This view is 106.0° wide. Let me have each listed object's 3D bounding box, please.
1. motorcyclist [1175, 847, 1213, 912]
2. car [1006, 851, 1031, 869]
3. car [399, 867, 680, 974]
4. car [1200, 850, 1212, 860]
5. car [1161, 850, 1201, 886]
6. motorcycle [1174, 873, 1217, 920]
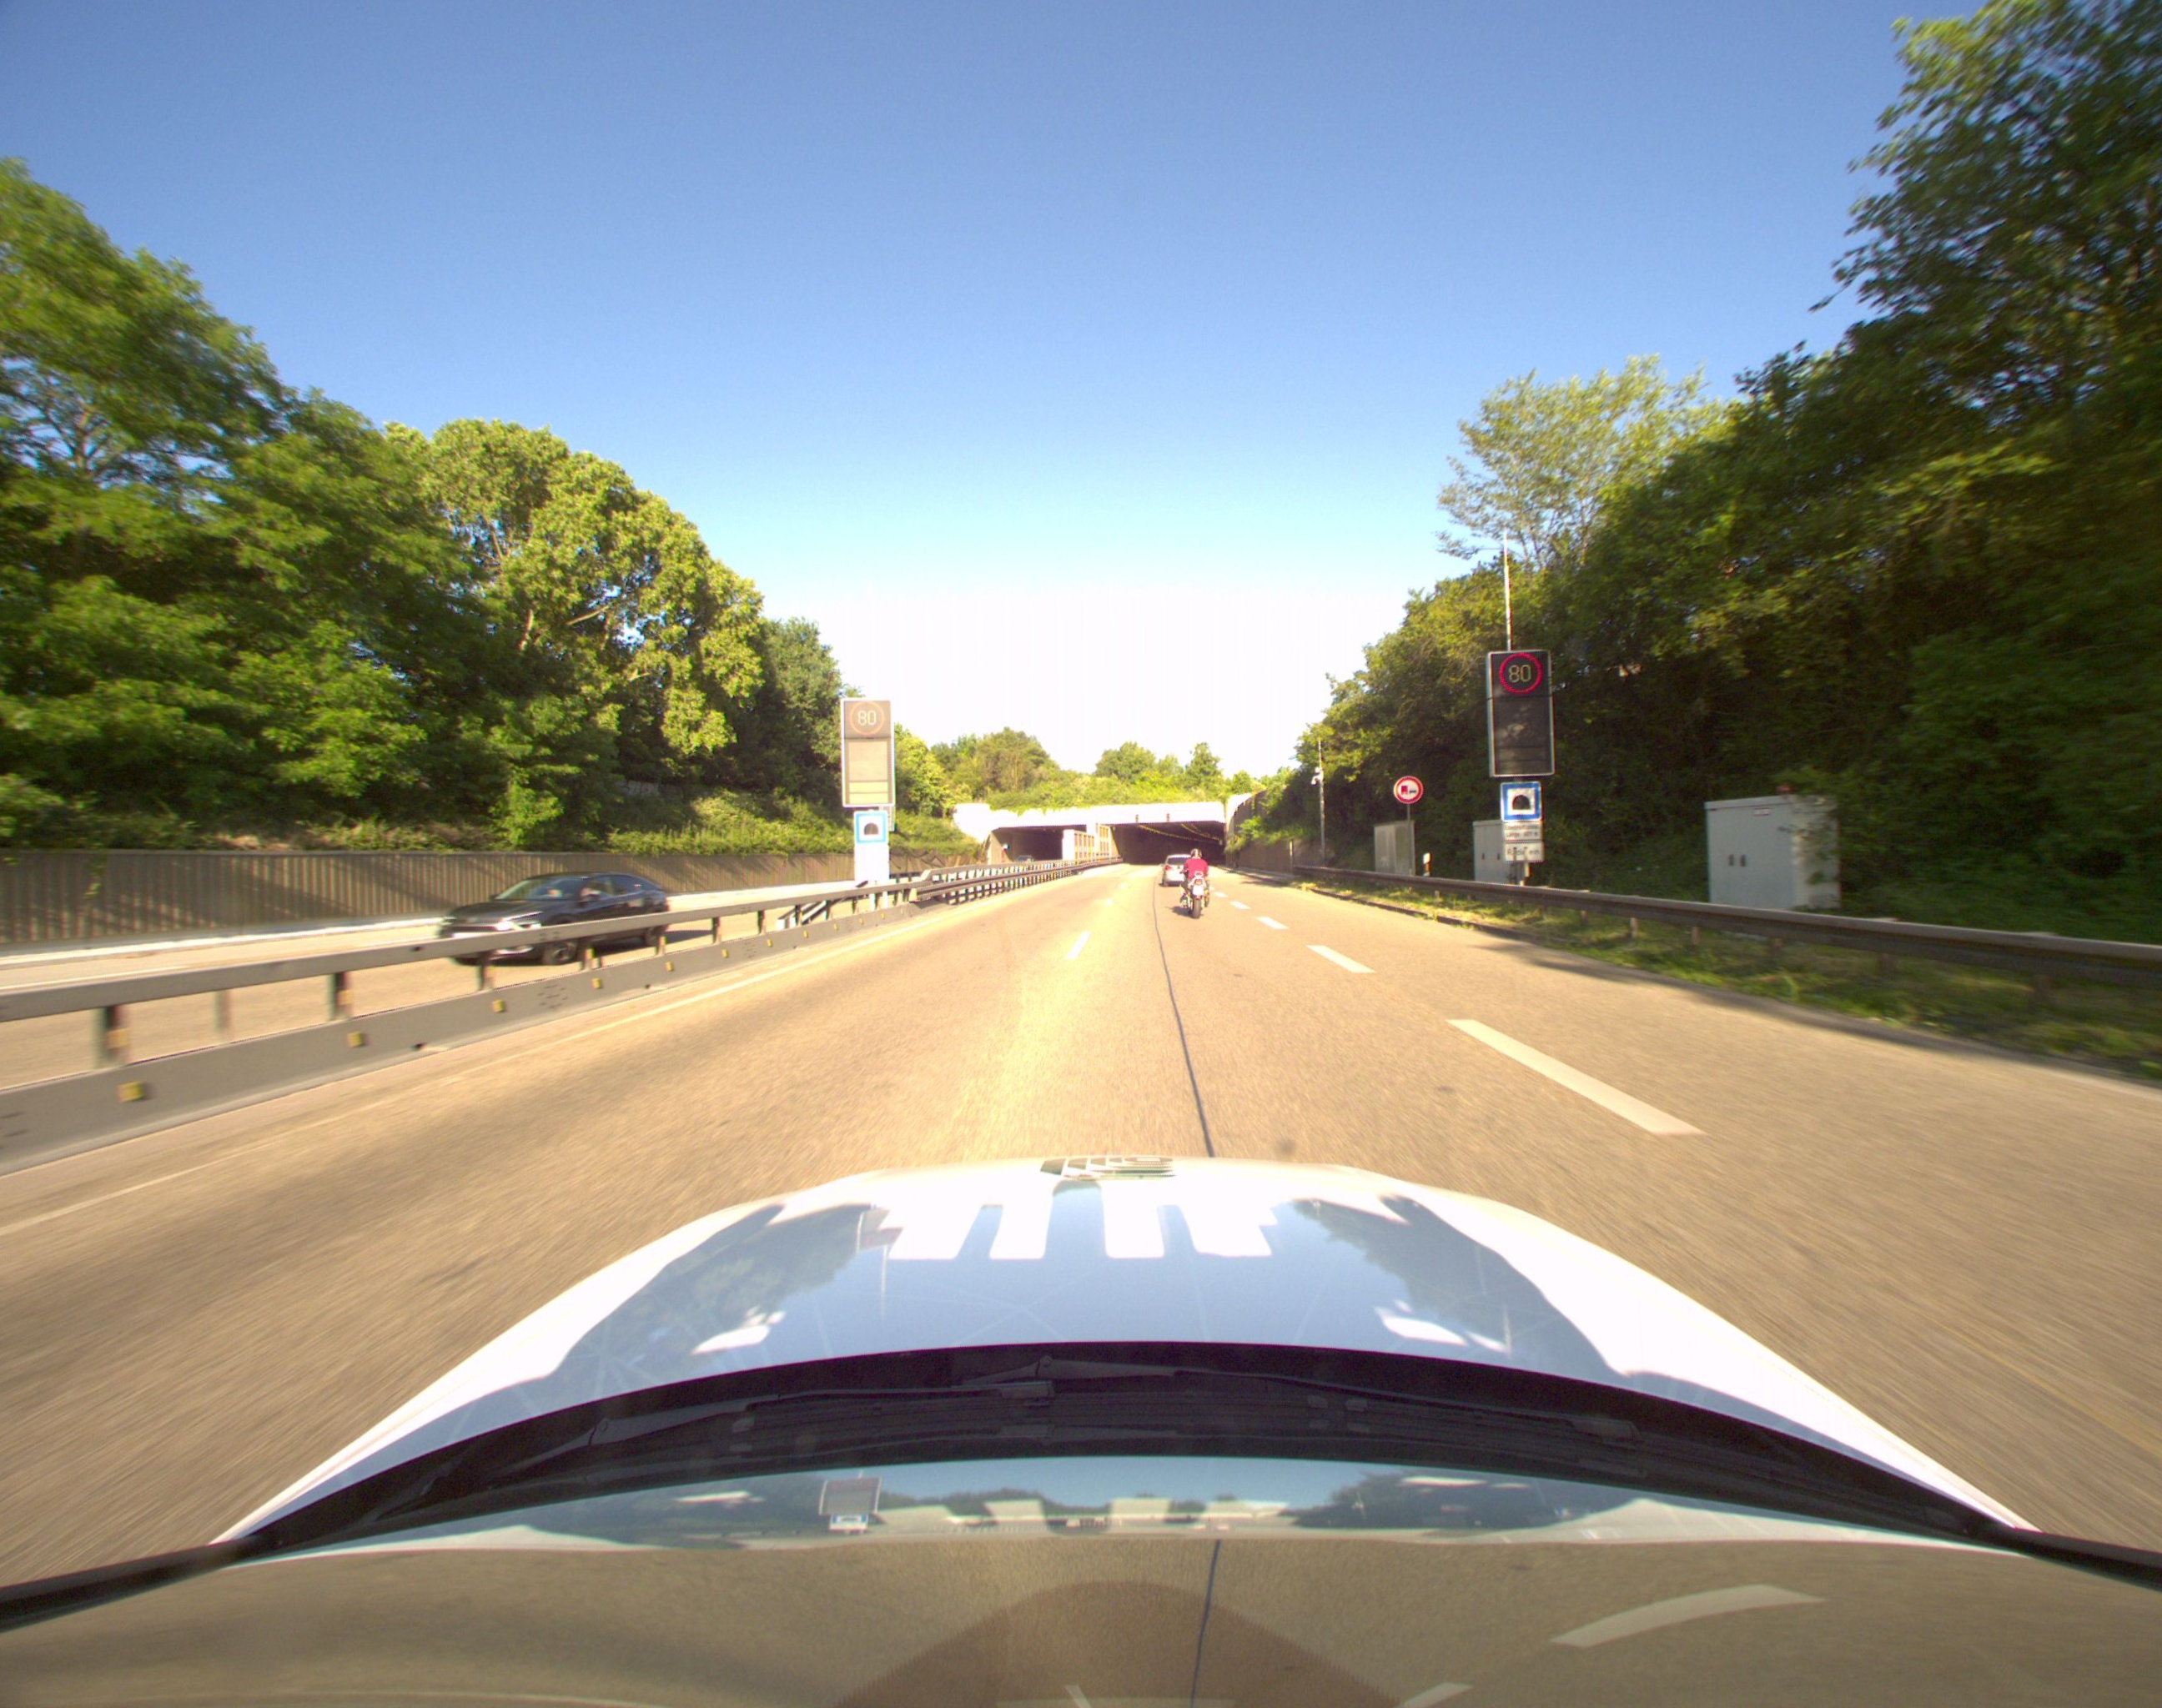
[{"bbox_3d":[2.716,0.591,19.652,0.879,1.501,1.065,0,1,5],"label":"motorcyclist"},{"bbox_3d":[-6.384,0.591,83.476,1.658,1.675,4.873,0,1,7],"label":"car"},{"bbox_3d":[-9.413,1.068,14.687,1.984,1.486,4.205,-1,1,4],"label":"car"},{"bbox_3d":[25.136,0.164,163.989,1.980,1.925,4.014,-1,1,13],"label":"car"},{"bbox_3d":[4.626,0.613,38.064,1.660,1.552,4.005,0,1,4],"label":"car"},{"bbox_3d":[2.719,0.991,19.602,0.854,0.991,2.732,0,0,5],"label":"motorcycle"}]
